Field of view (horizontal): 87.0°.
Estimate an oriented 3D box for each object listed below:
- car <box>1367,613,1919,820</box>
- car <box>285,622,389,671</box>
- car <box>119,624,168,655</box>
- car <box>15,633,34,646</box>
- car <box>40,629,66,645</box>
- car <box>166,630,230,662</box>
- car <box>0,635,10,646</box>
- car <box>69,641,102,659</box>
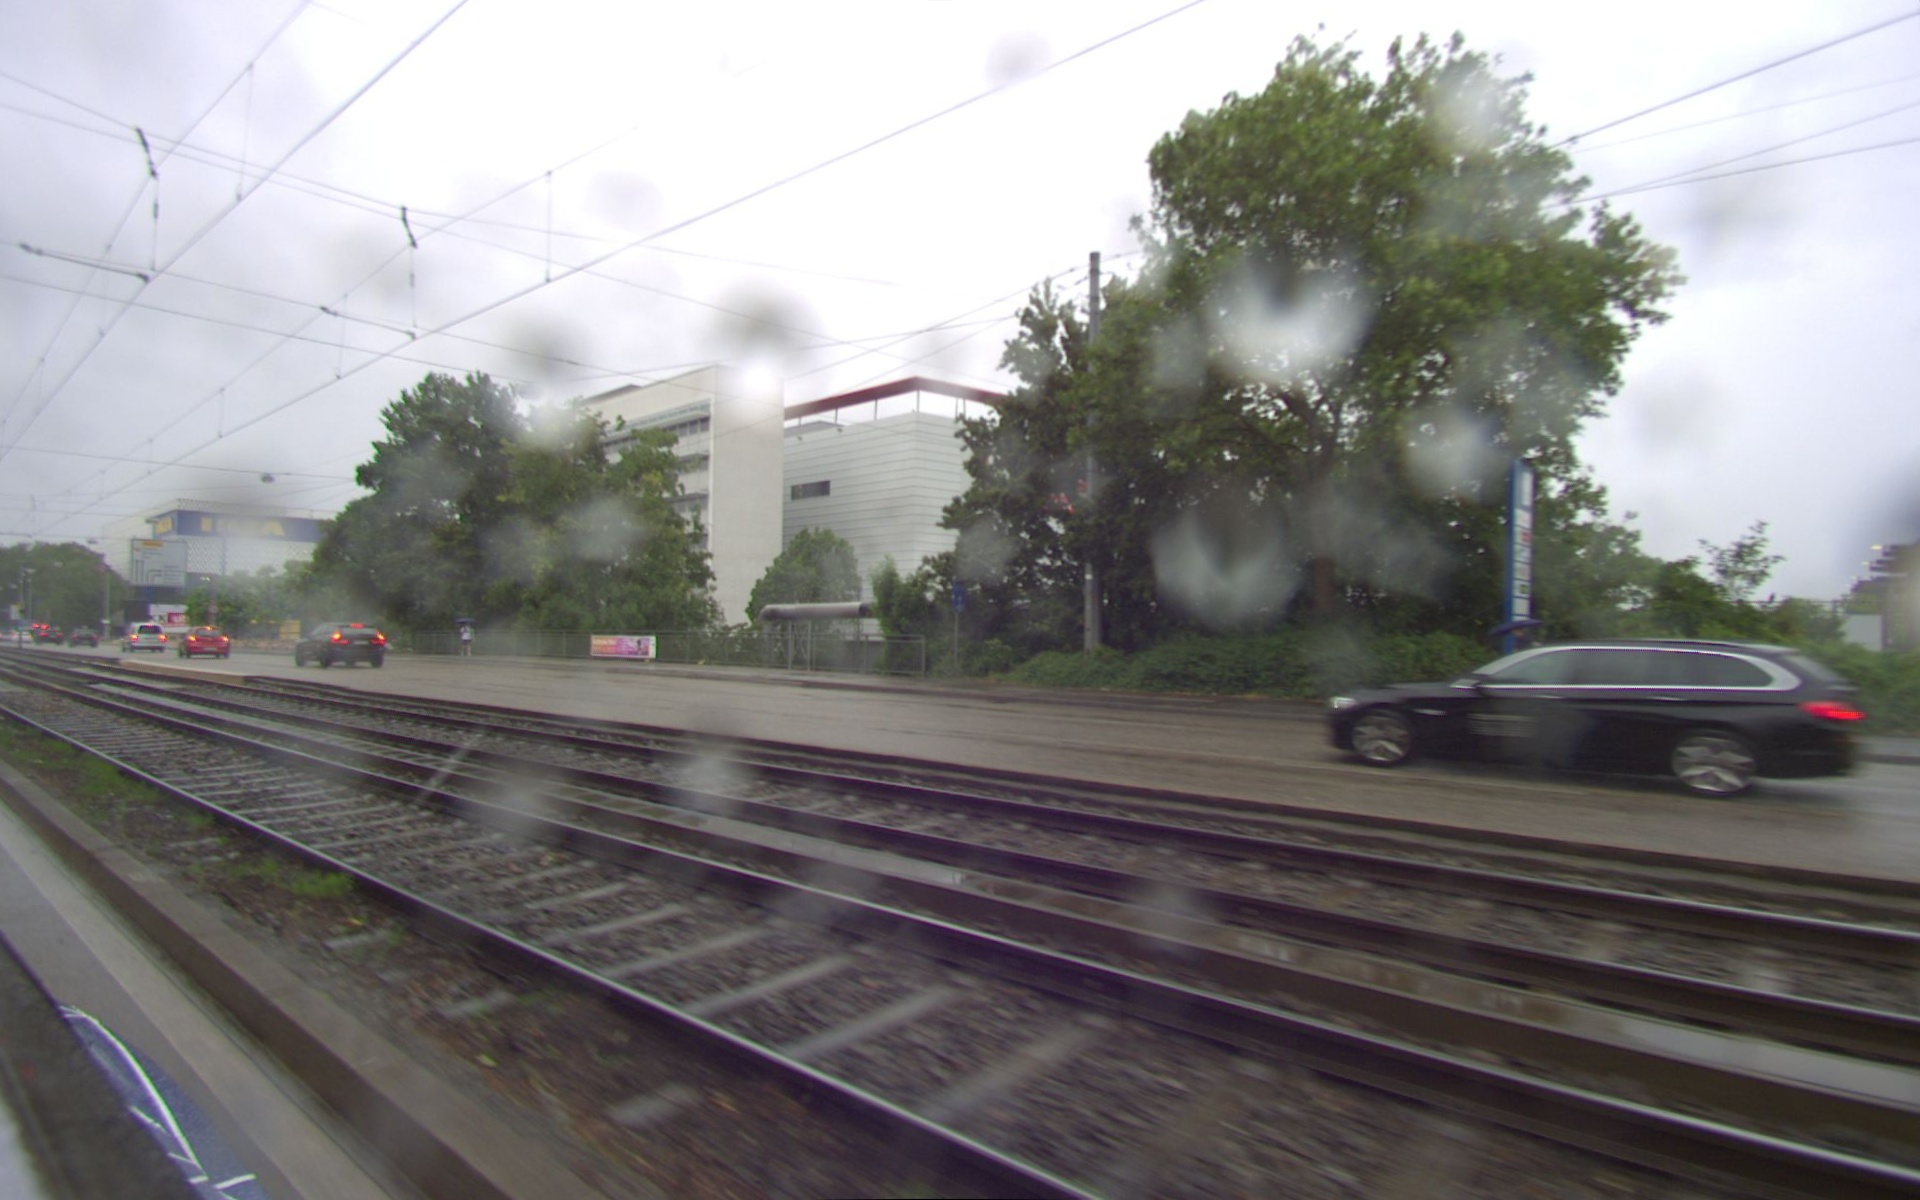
[{"bbox_3d":[6.748,1.018,10.348,4.396,1.655,1.868,-2,-2,42],"label":"car"},{"bbox_3d":[-22.949,1.714,37.205,4.870,1.665,1.916,-2,-4,42],"label":"car"},{"bbox_3d":[-52.276,2.564,64.764,3.999,1.924,1.821,-2,-4,42],"label":"car"},{"bbox_3d":[-114.303,4.861,123.636,4.002,1.557,1.548,-3,-2,45],"label":"car"},{"bbox_3d":[-90.445,3.731,100.929,4.001,1.557,1.625,-3,-4,44],"label":"car"},{"bbox_3d":[-36.725,2.209,48.757,3.999,1.465,1.686,-2,-4,42],"label":"car"},{"bbox_3d":[-131.775,5.568,139.090,4.001,1.546,1.548,-3,-4,45],"label":"car"},{"bbox_3d":[-75.461,4.321,87.320,3.999,1.557,1.685,-2,-4,42],"label":"car"}]
